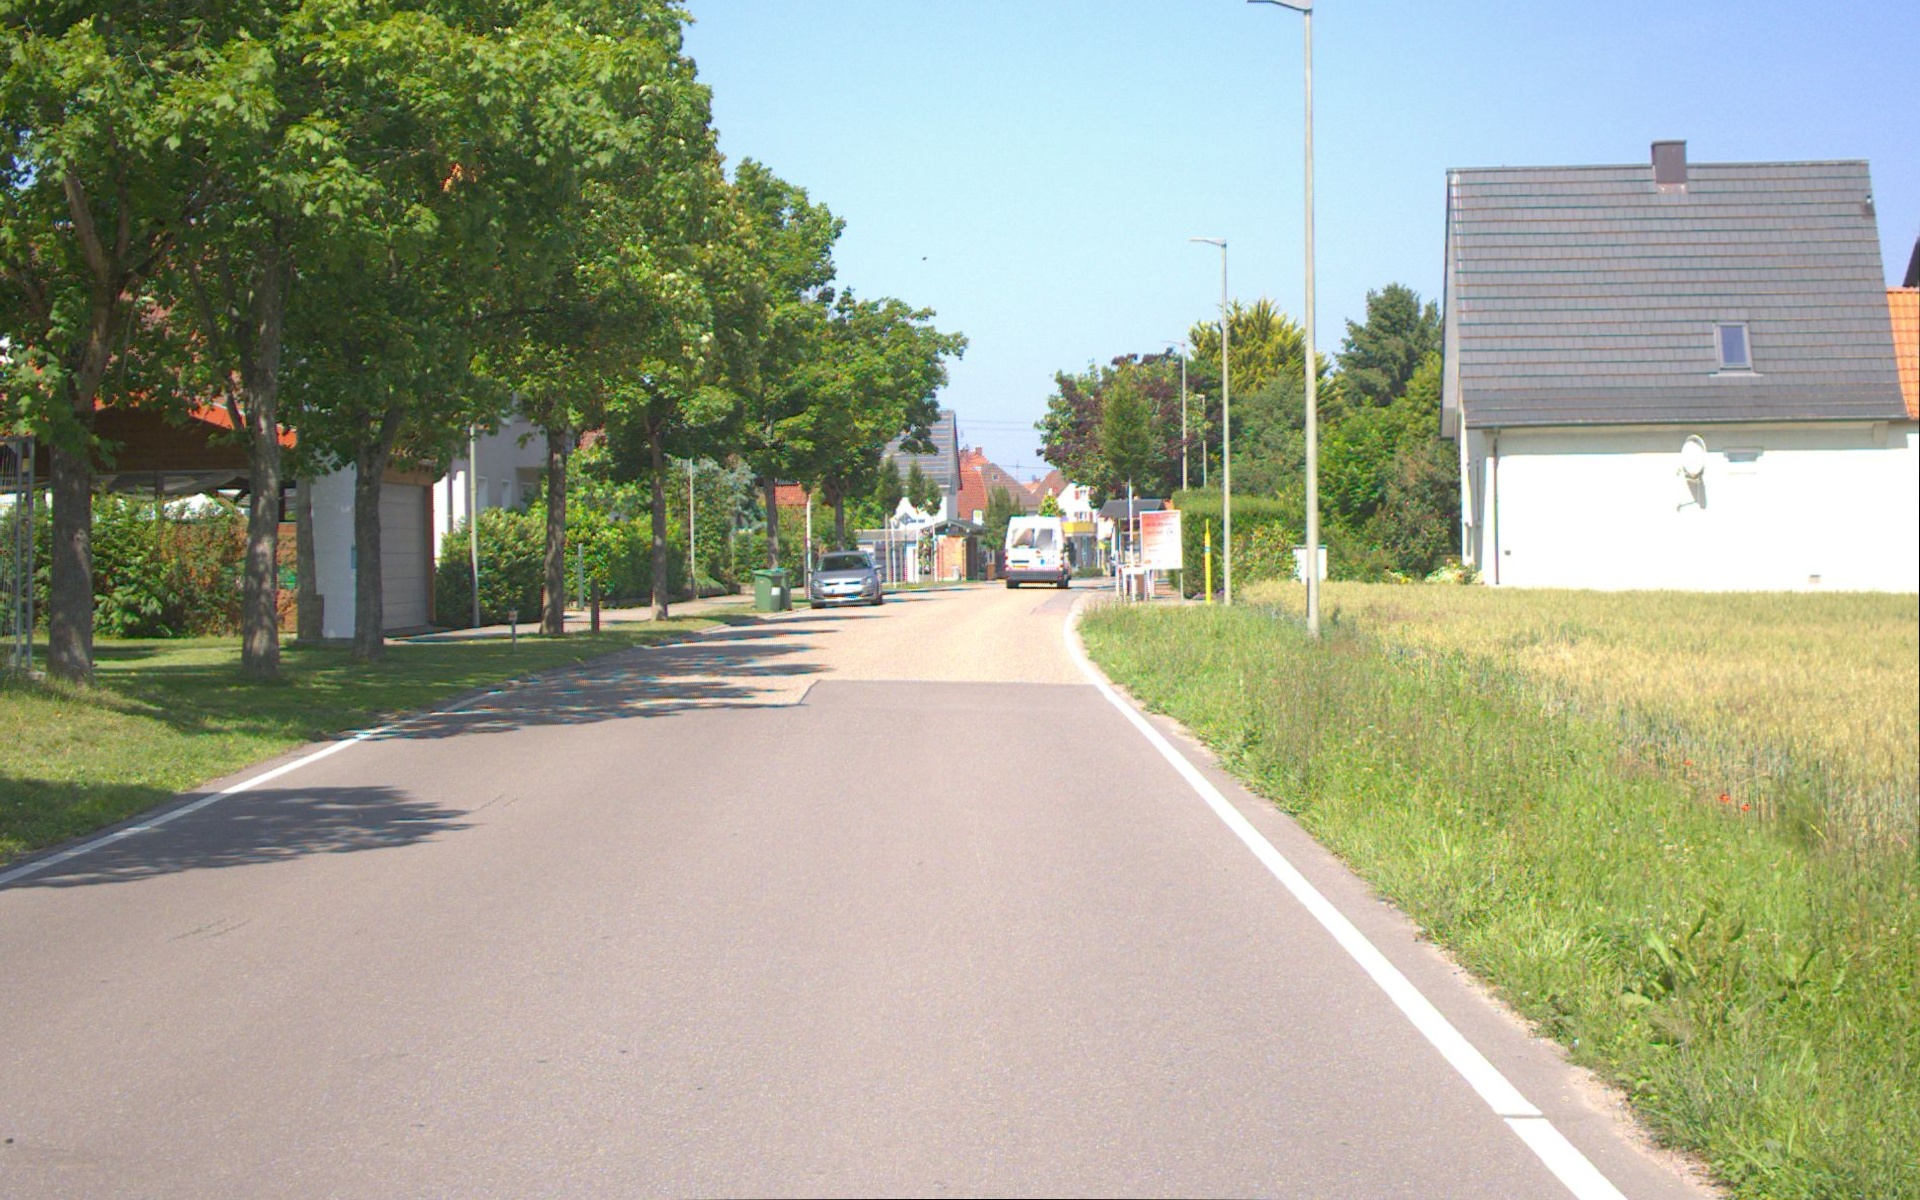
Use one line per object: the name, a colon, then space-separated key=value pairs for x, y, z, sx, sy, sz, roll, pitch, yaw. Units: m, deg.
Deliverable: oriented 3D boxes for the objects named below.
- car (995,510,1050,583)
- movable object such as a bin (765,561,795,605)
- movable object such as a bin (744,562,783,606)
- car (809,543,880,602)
car: x=2.172 y=-1.835 z=118.576 sx=1.738 sy=2.424 sz=4.374 roll=-1 pitch=1 yaw=2
movable object such as a bin: x=-4.457 y=-0.431 z=85.023 sx=0.575 sy=1.075 sz=0.598 roll=-1 pitch=1 yaw=15
movable object such as a bin: x=-4.822 y=-0.391 z=84.413 sx=0.714 sy=1.075 sz=0.639 roll=-1 pitch=1 yaw=28
car: x=-2.994 y=-0.727 z=89.722 sx=1.647 sy=1.419 sz=4.080 roll=-3 pitch=1 yaw=0
